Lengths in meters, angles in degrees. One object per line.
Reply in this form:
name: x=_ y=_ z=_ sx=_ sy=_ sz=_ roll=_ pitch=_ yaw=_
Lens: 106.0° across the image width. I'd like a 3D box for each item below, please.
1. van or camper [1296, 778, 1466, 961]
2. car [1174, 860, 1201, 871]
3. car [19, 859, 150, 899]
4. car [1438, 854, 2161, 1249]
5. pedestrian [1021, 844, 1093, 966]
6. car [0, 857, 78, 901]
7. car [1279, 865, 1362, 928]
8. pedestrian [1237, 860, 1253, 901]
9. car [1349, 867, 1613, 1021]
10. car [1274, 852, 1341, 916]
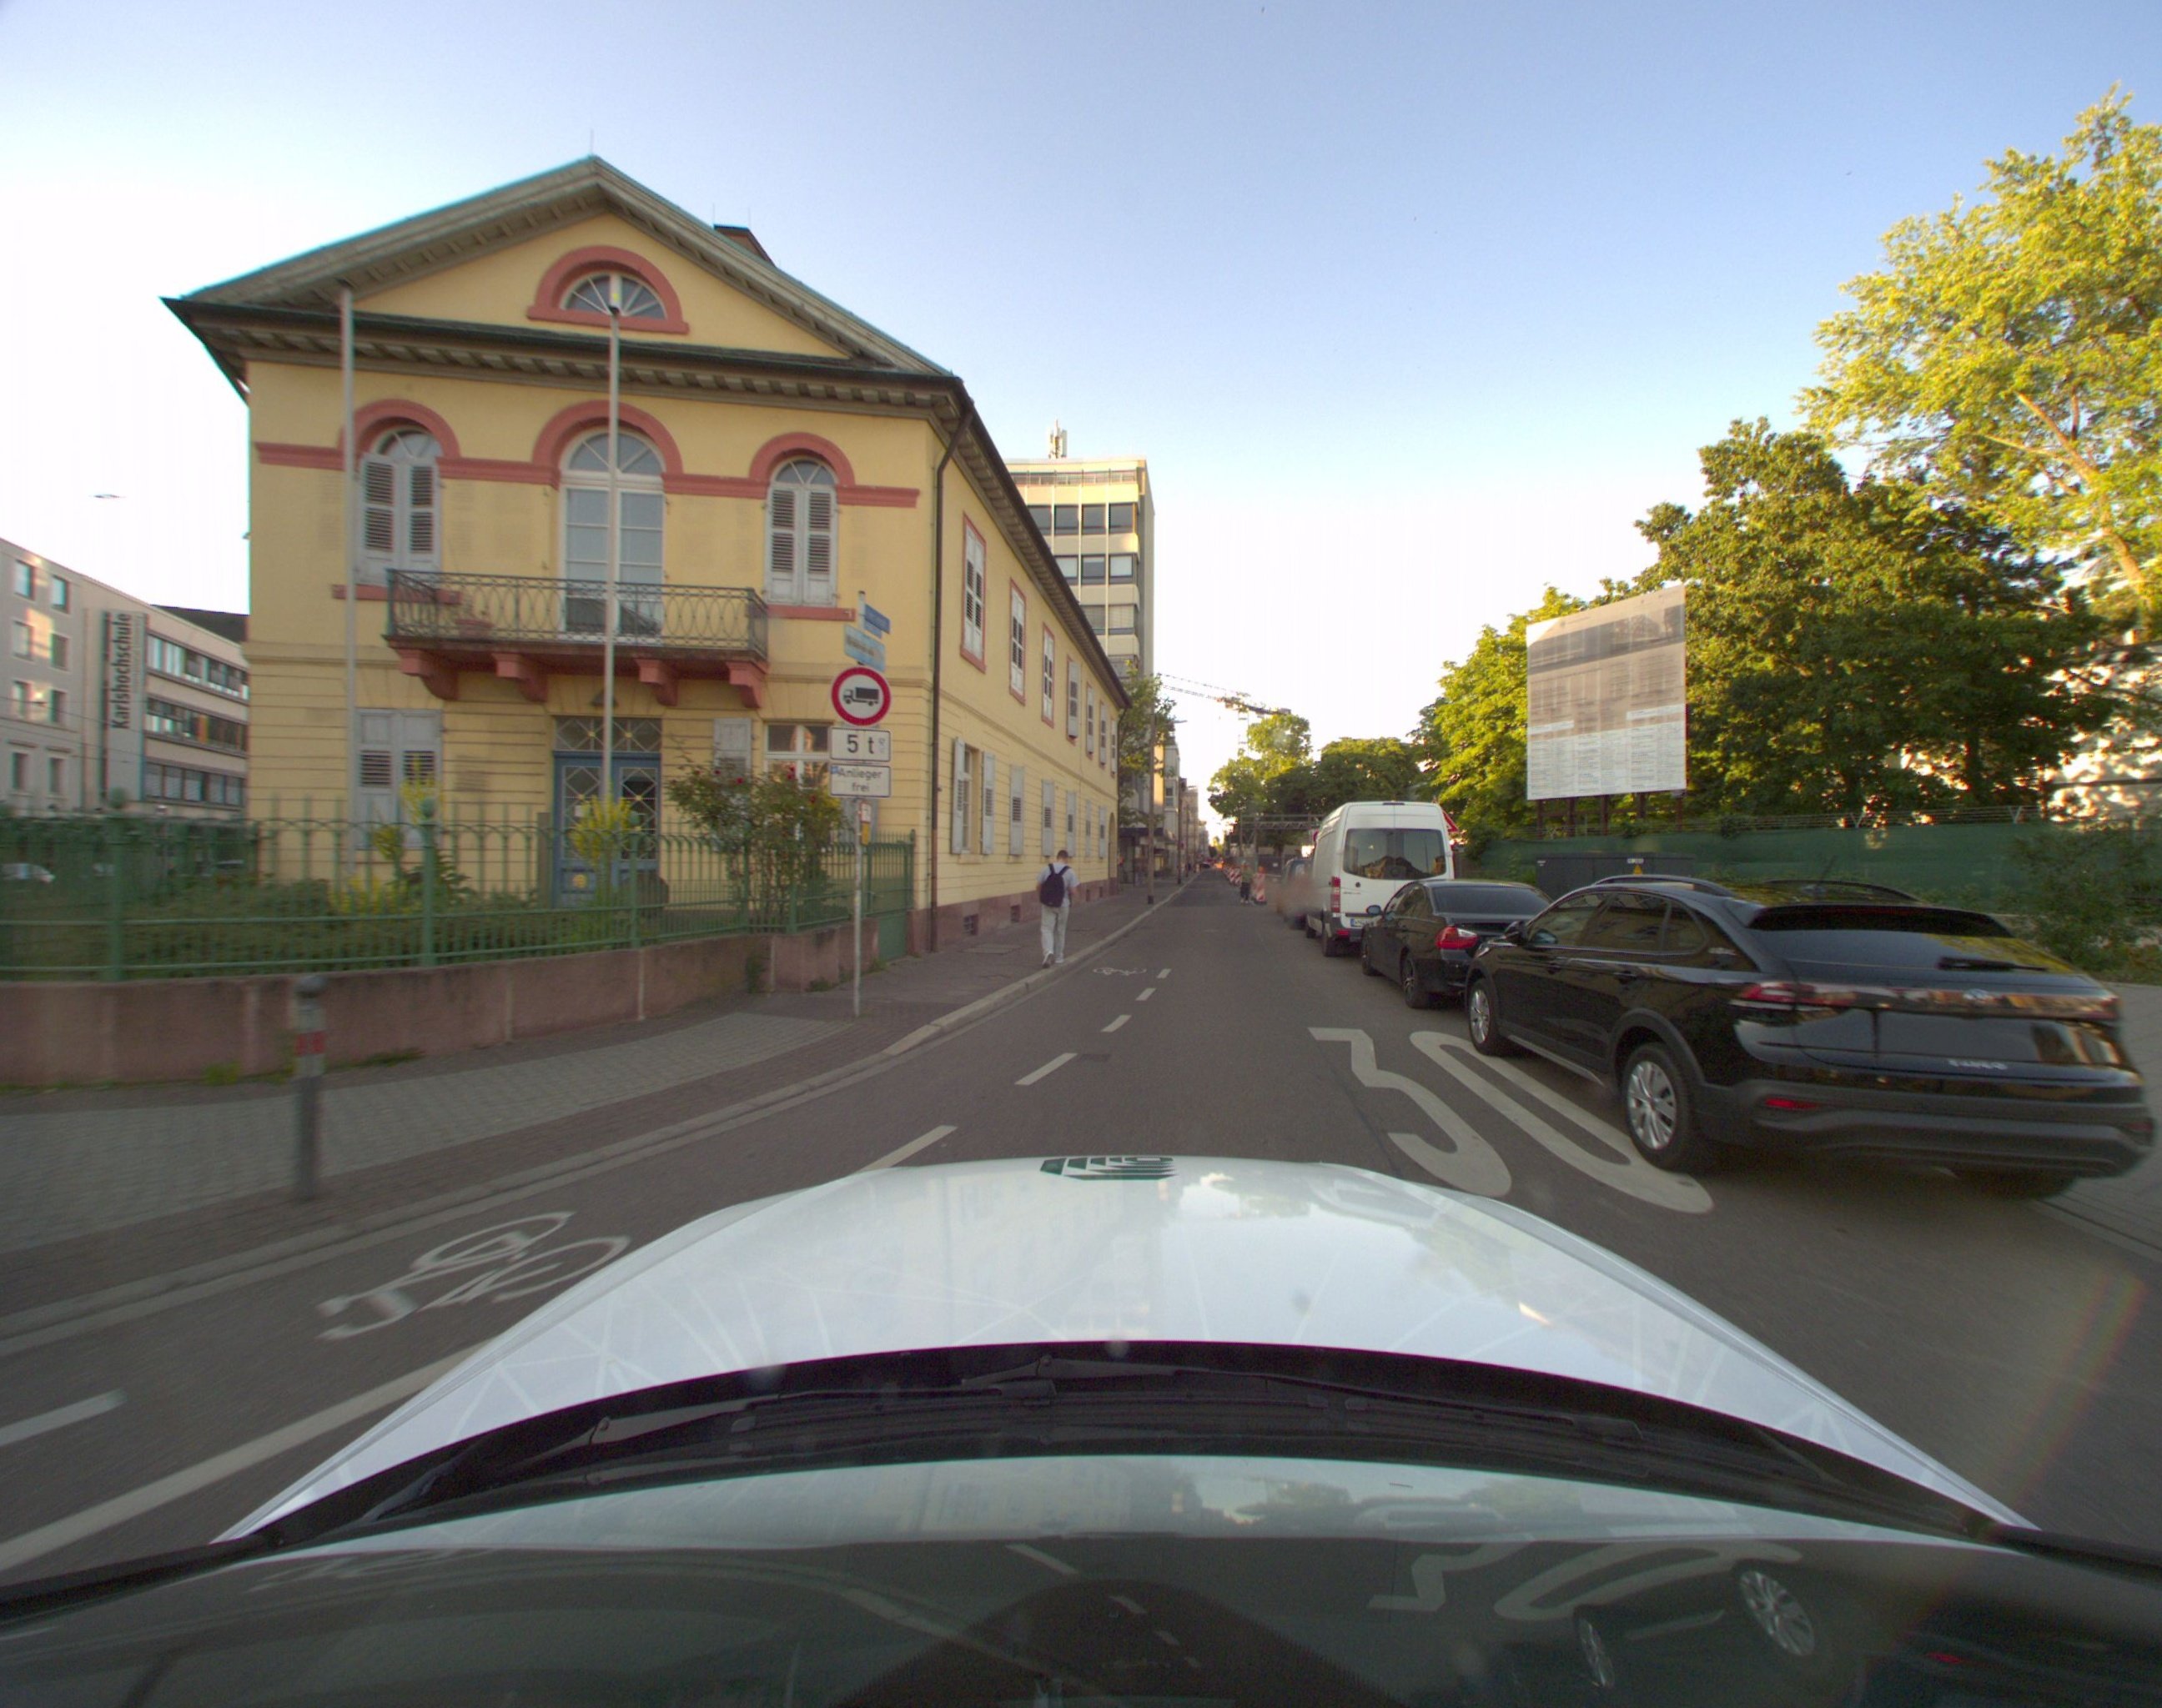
van or camper: x=5.433 y=0.280 z=15.716 sx=2.064 sy=2.775 sz=6.468 roll=0 pitch=-1 yaw=11
car: x=15.436 y=1.649 z=117.935 sx=3.722 sy=1.459 sz=1.701 roll=0 pitch=-1 yaw=8
car: x=-44.791 y=1.093 z=36.758 sx=2.001 sy=1.666 sz=3.971 roll=0 pitch=-1 yaw=-22
car: x=3.936 y=0.793 z=5.393 sx=1.768 sy=1.543 sz=4.300 roll=0 pitch=-1 yaw=8
pedestrian: x=-0.344 y=0.727 z=12.095 sx=0.870 sy=1.724 sz=0.832 roll=0 pitch=-1 yaw=13
car: x=-41.770 y=0.947 z=31.306 sx=2.001 sy=1.665 sz=4.604 roll=0 pitch=-1 yaw=-22
car: x=6.179 y=1.043 z=21.382 sx=1.681 sy=1.459 sz=4.110 roll=0 pitch=-1 yaw=10
pedestrian: x=6.636 y=1.076 z=32.884 sx=0.609 sy=1.629 sz=0.821 roll=0 pitch=-1 yaw=12
car: x=4.565 y=0.889 z=10.076 sx=1.718 sy=1.429 sz=4.485 roll=0 pitch=-1 yaw=9
car: x=7.121 y=0.899 z=25.905 sx=1.702 sy=1.849 sz=4.033 roll=0 pitch=-1 yaw=10
